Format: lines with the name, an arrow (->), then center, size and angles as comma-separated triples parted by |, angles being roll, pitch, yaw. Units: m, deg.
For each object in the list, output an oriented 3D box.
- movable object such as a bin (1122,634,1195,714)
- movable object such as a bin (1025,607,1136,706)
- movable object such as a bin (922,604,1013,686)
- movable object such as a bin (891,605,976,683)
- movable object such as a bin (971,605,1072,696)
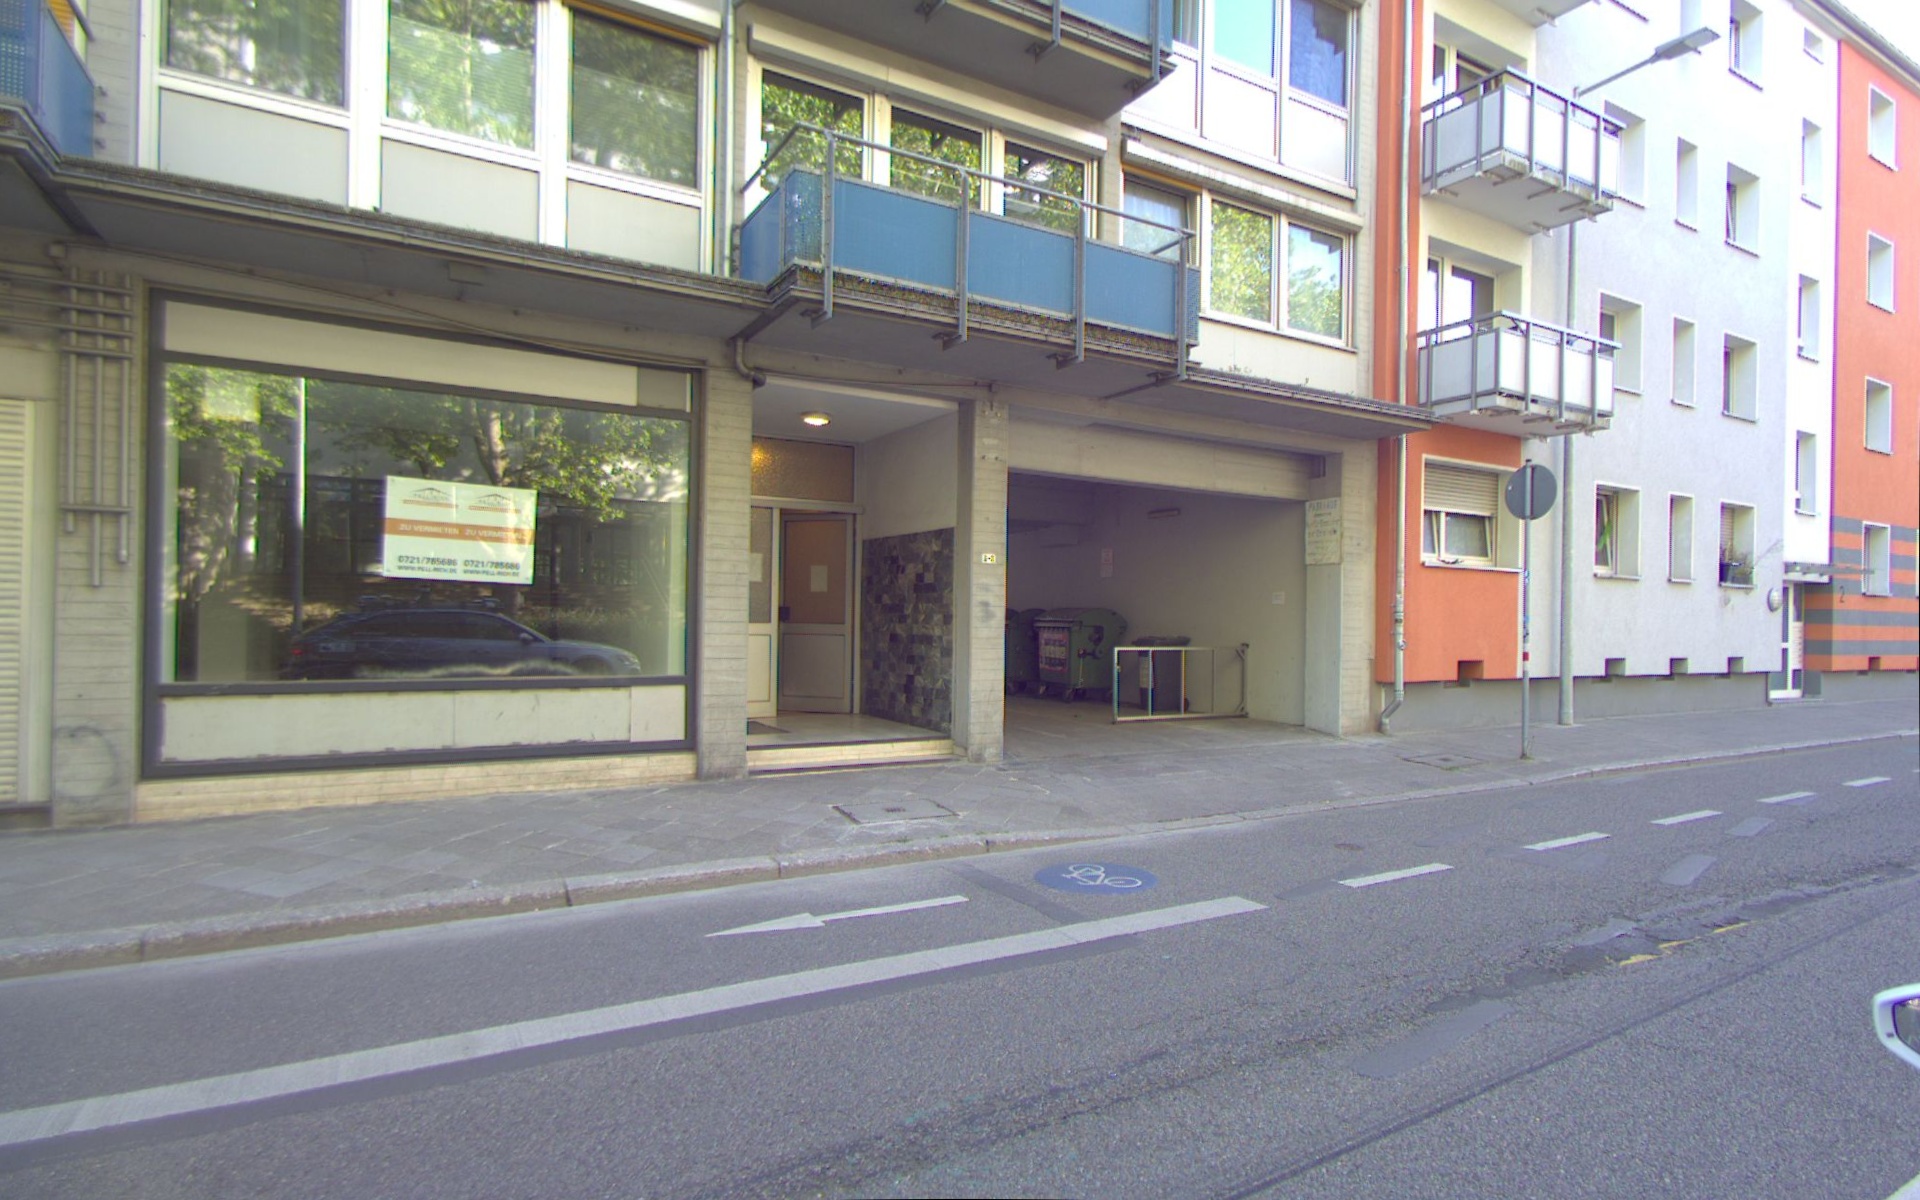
movable object such as a bin -> 2.861, 1.055, 14.527 | 0.707, 1.089, 0.735 | 2, 0, -30
movable object such as a bin -> 1.883, 0.861, 15.809 | 1.182, 1.452, 1.300 | 2, 0, -30
movable object such as a bin -> 0.130, 0.822, 18.771 | 1.182, 1.452, 1.300 | 2, 0, -30
movable object such as a bin -> -0.538, 0.853, 19.935 | 1.182, 1.452, 1.300 | 2, 0, -30
movable object such as a bin -> 1.043, 0.842, 17.196 | 1.182, 1.452, 1.300 | 2, 0, -30
